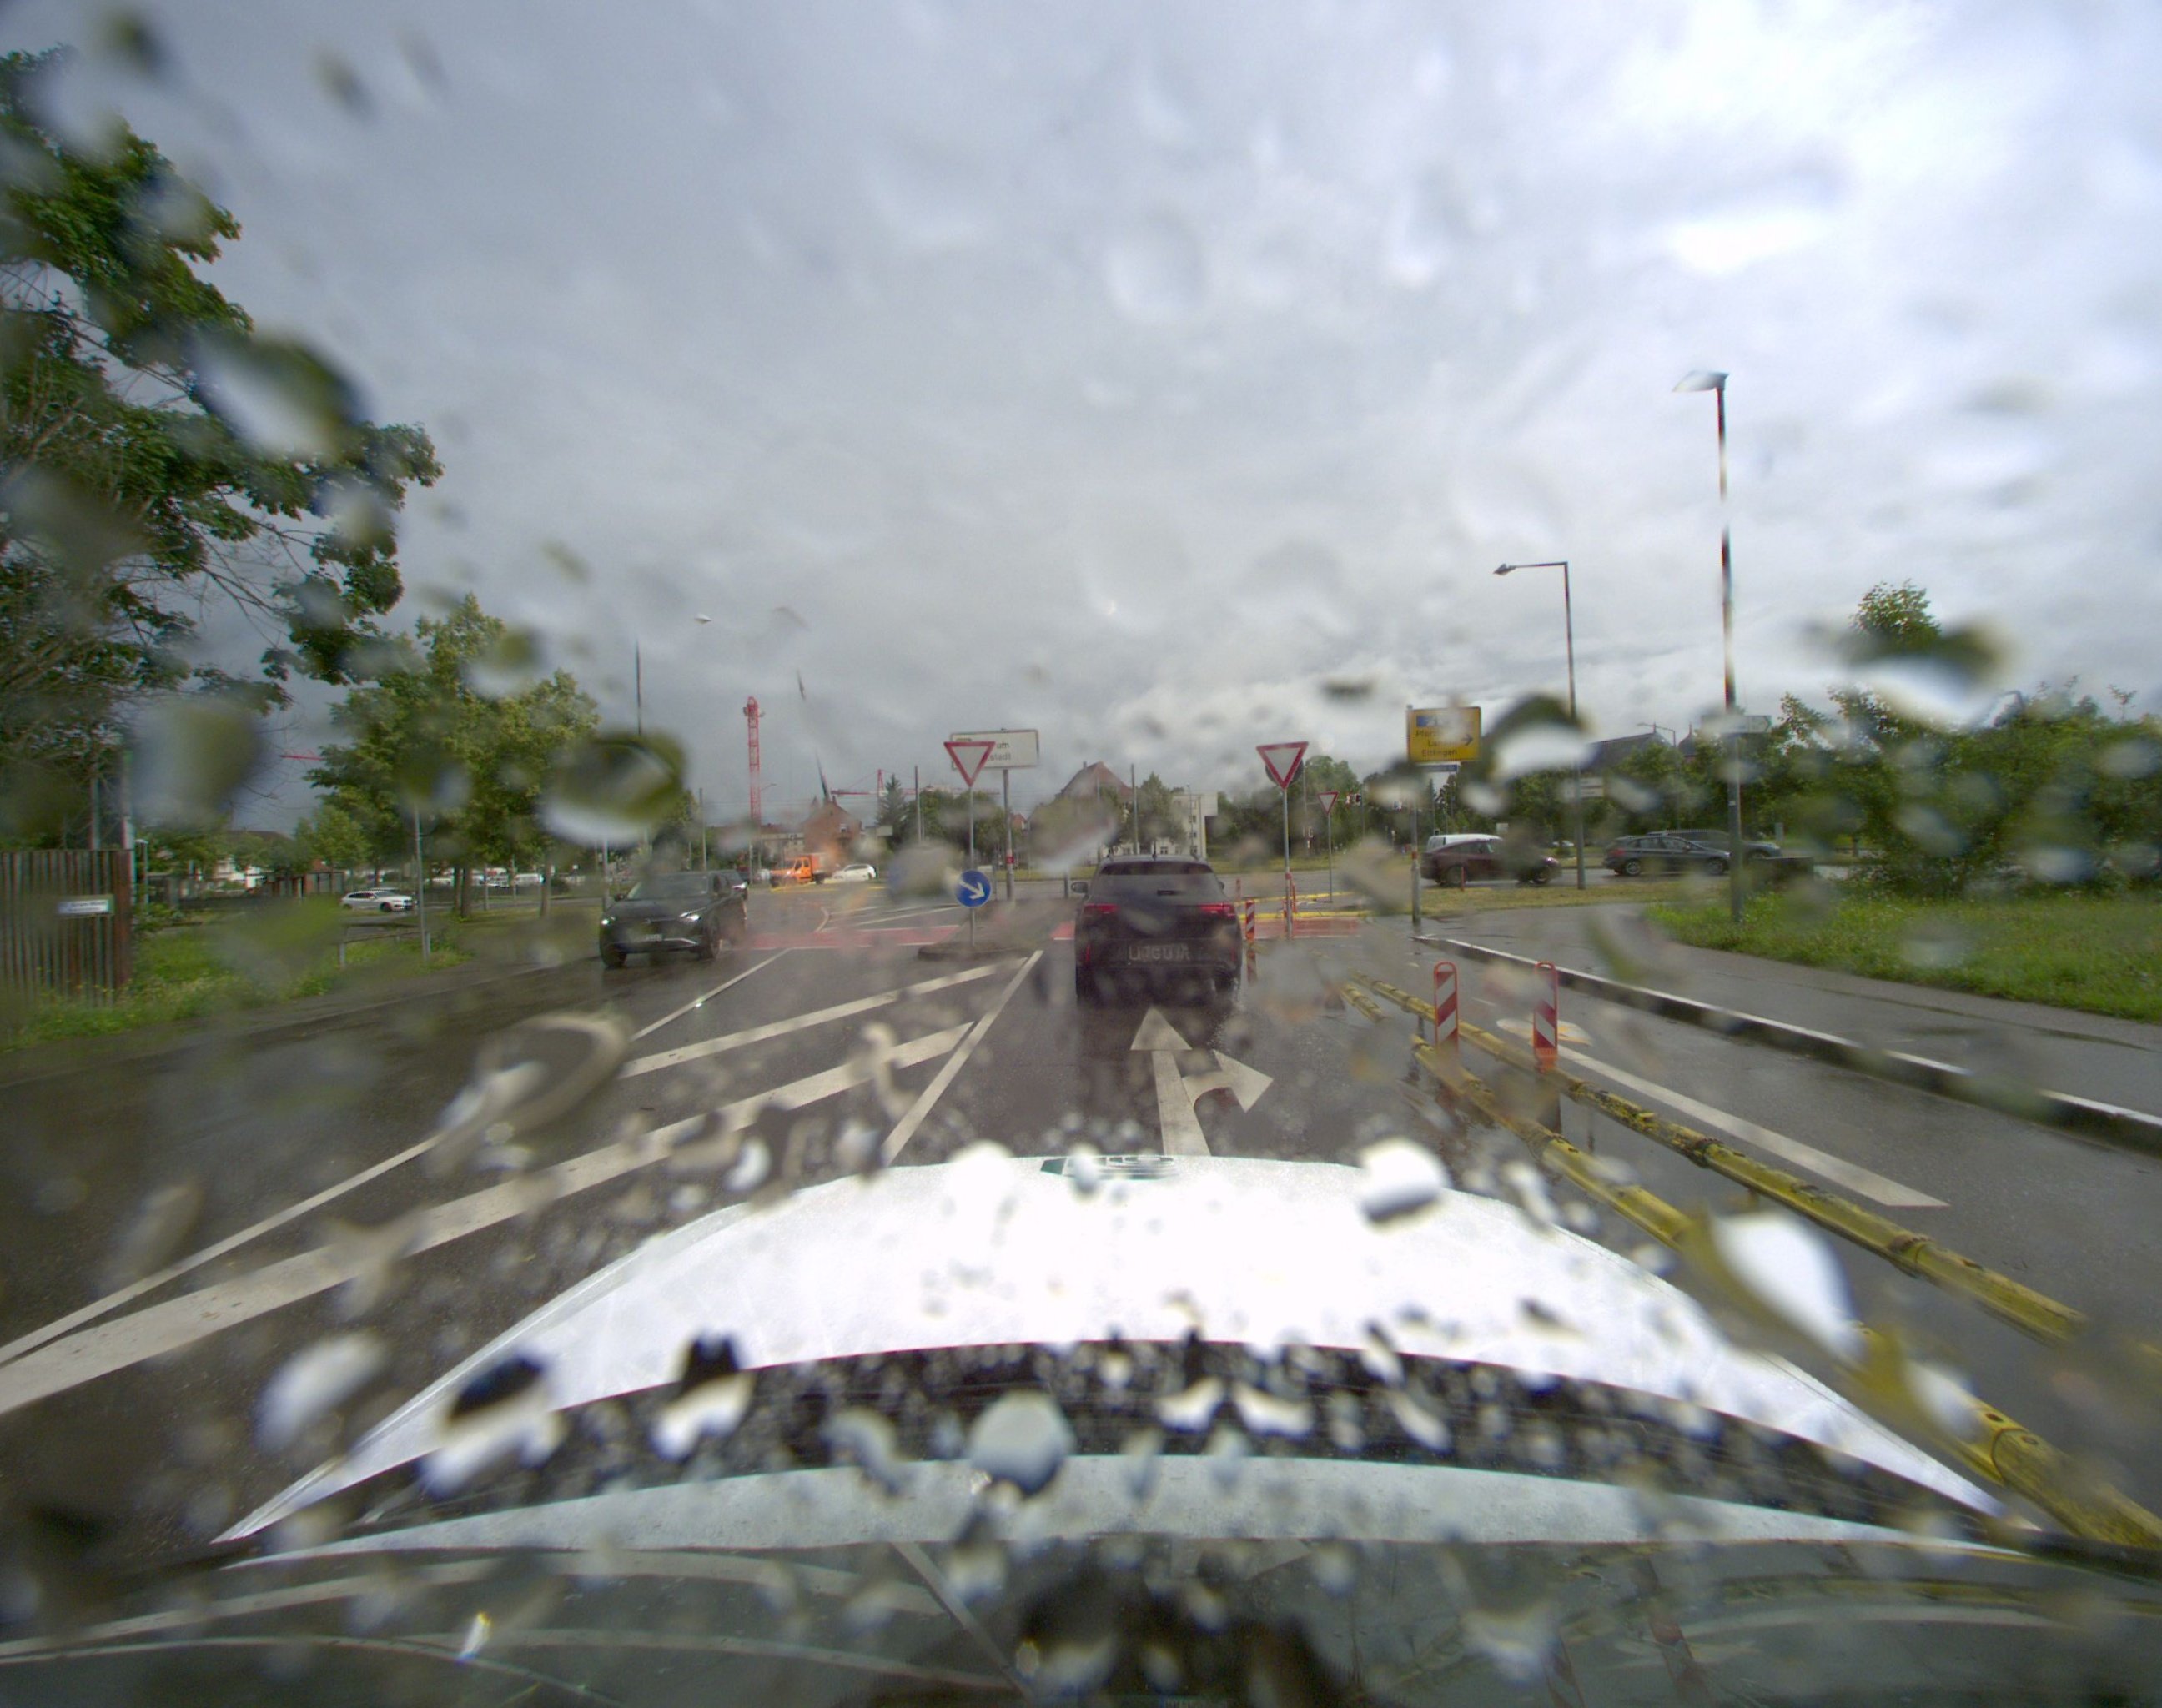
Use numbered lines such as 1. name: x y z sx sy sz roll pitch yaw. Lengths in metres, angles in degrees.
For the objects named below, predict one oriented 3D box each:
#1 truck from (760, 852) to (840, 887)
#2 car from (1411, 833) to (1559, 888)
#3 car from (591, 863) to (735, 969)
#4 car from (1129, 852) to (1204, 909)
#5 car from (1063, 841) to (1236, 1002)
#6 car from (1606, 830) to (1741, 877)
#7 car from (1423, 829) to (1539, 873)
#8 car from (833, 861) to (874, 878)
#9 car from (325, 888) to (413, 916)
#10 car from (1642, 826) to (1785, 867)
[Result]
1. truck: -23.000 1.203 67.105 2.304 2.650 7.122 -2 0 17
2. car: 14.461 0.232 29.390 4.317 1.725 2.005 -2 0 8
3. car: -7.929 1.084 15.823 1.739 1.664 4.084 -4 0 -18
4. car: 2.603 0.733 24.207 1.723 1.514 3.617 -2 0 13
5. car: 0.682 0.686 9.987 1.703 1.574 3.682 -1 -1 0
6. car: 22.716 -0.005 31.397 3.906 1.644 1.680 -2 0 23
7. car: 18.123 -0.120 37.029 4.378 1.809 1.868 -2 0 -3
8. car: -22.181 1.491 79.442 3.519 1.584 1.551 -2 0 -33
9. car: -47.470 3.161 54.352 4.383 1.628 1.630 -2 0 -1
10. car: 26.227 -0.290 33.955 4.349 1.548 1.881 -2 0 24
